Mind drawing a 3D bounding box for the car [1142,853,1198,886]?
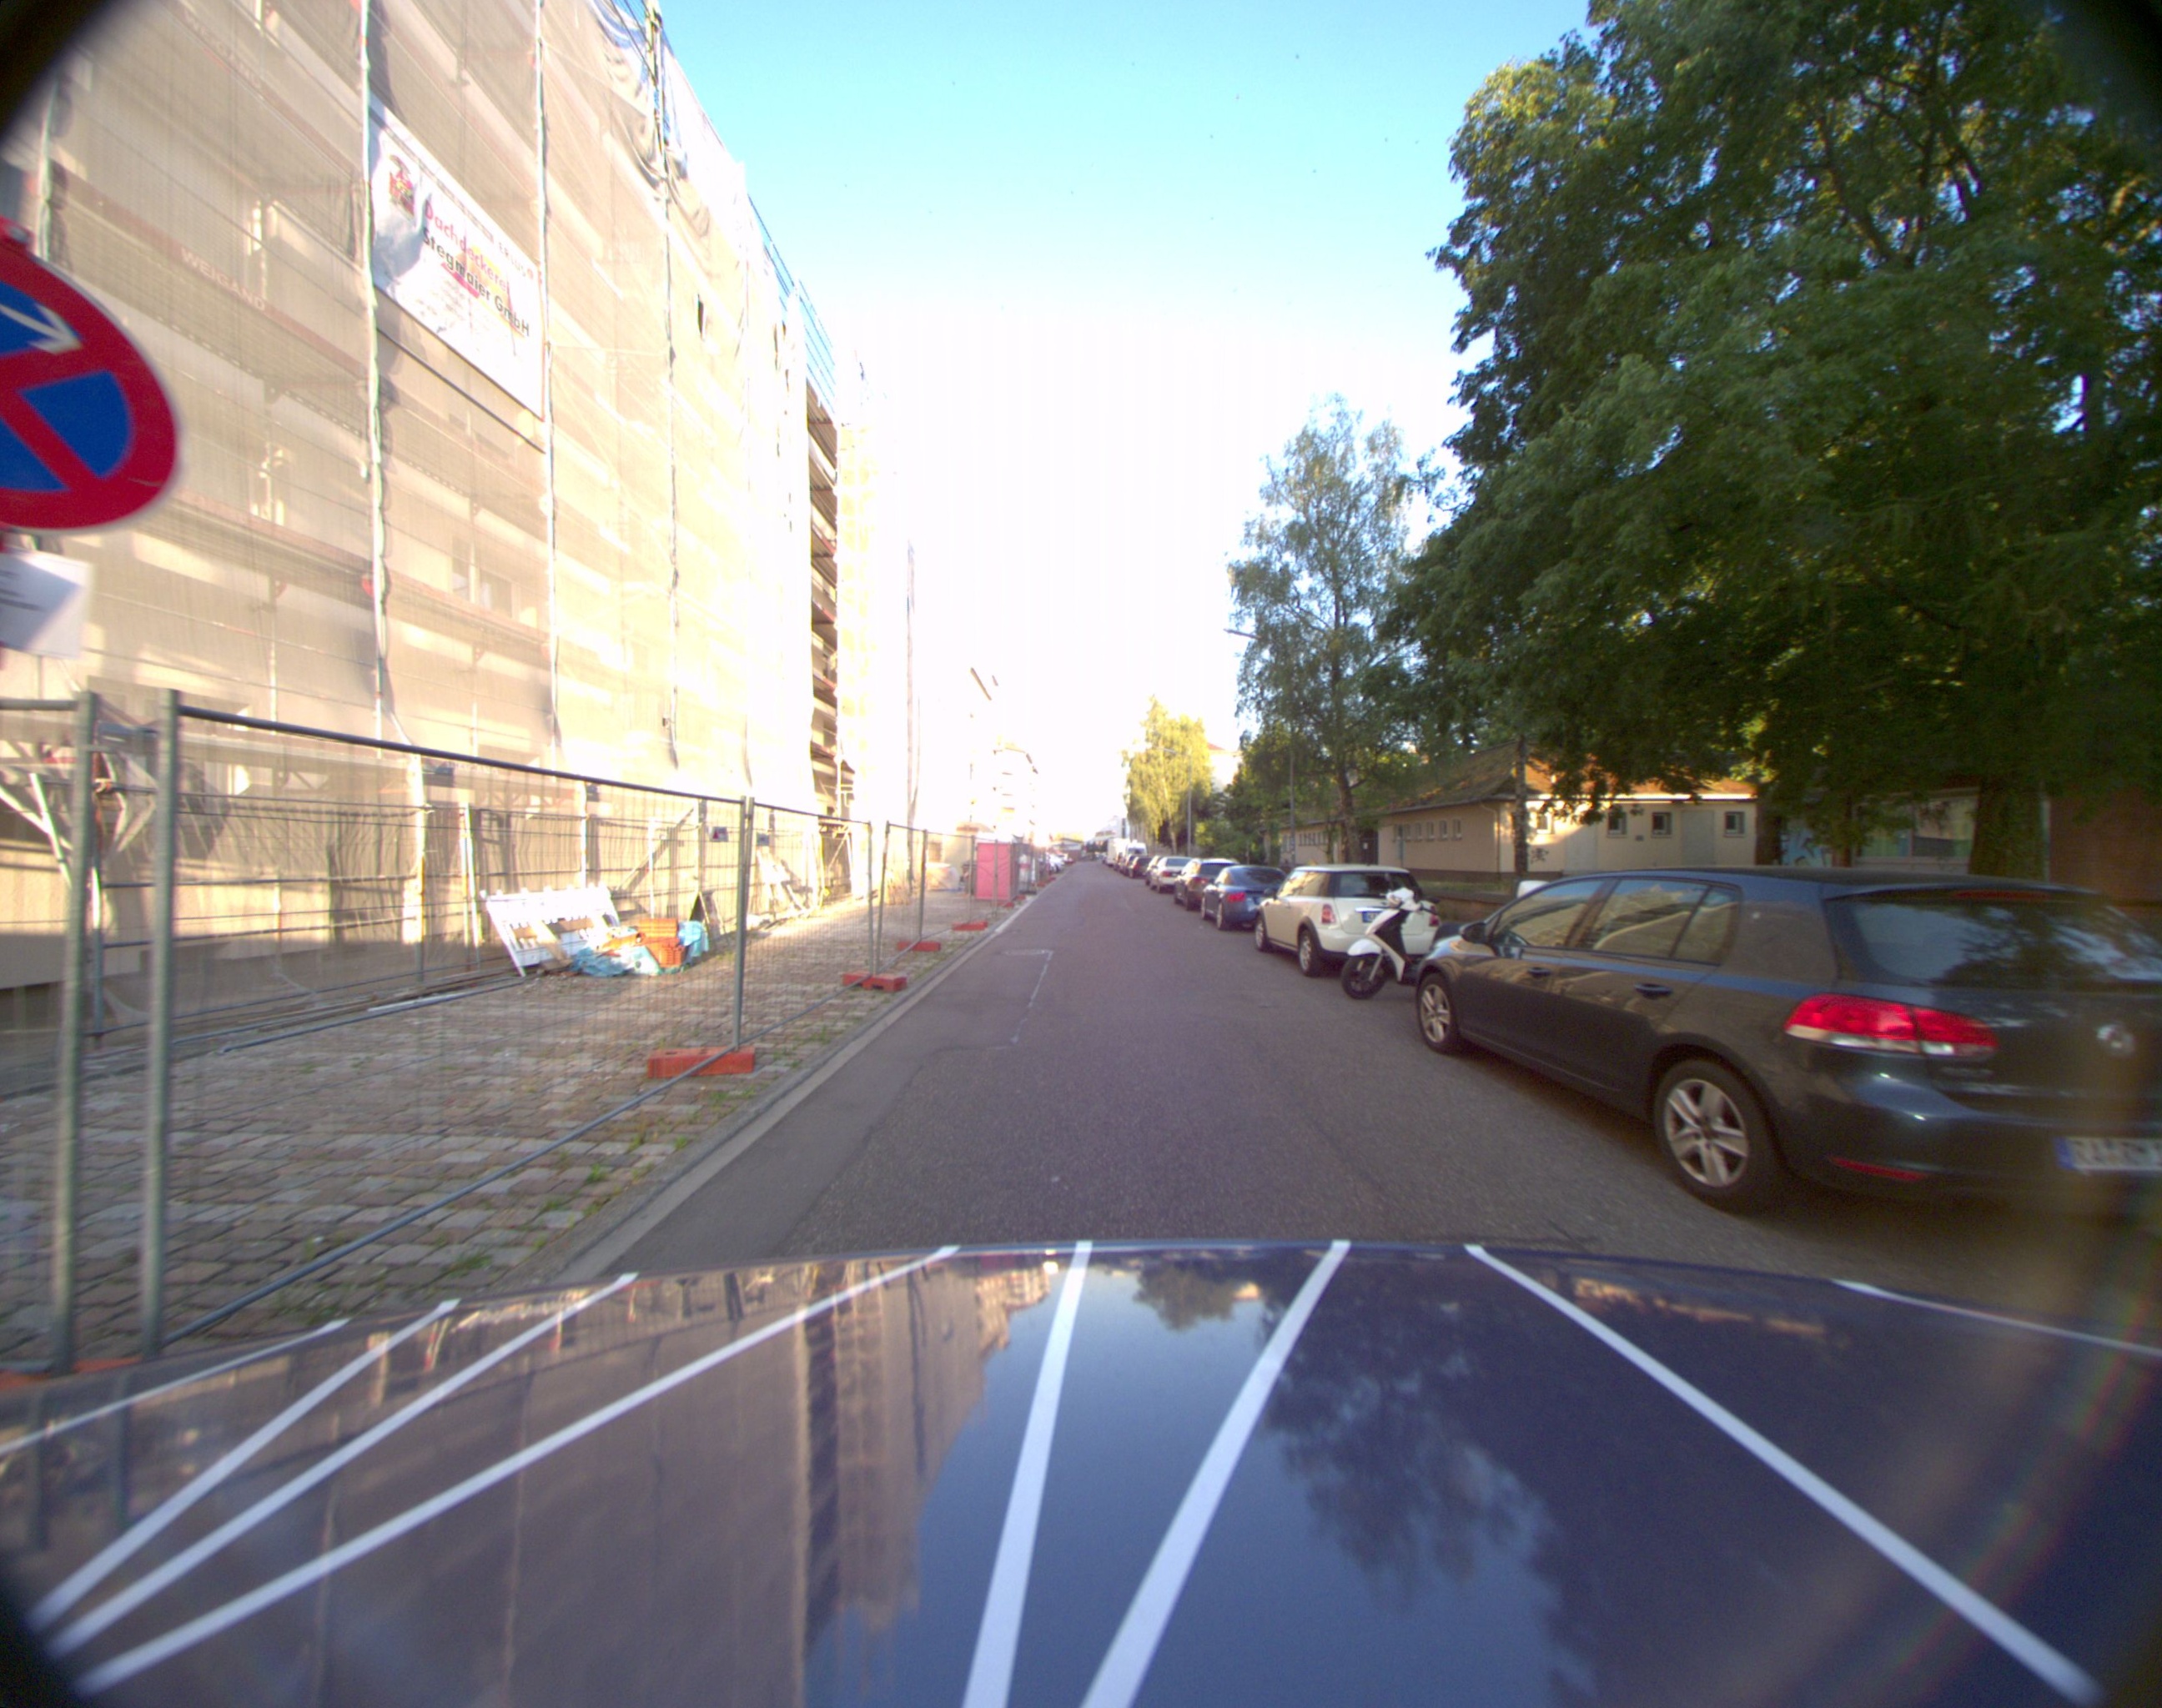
[{"bbox_3d":[4.162,0.676,36.151,1.999,1.444,3.999,-1,0,-2],"label":"car"}]

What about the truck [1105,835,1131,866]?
[{"bbox_3d":[4.268,-0.400,88.282,2.532,3.334,8.017,2,0,0],"label":"truck"}]

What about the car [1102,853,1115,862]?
[{"bbox_3d":[4.762,0.545,132.299,1.999,1.481,4.431,-1,0,-1],"label":"car"}]

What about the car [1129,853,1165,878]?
[{"bbox_3d":[4.122,0.677,47.938,1.998,1.444,4.288,-1,0,1],"label":"car"}]

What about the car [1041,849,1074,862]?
[{"bbox_3d":[-3.428,0.213,111.422,4.685,1.988,2.000,0,0,1],"label":"car"}]

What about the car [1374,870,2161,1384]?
[{"bbox_3d":[3.489,0.914,4.560,1.720,1.487,4.360,1,0,-1],"label":"car"}]

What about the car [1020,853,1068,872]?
[{"bbox_3d":[-3.148,0.709,65.442,3.997,1.630,1.999,0,1,-1],"label":"car"}]

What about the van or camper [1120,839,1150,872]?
[{"bbox_3d":[4.200,0.096,60.090,1.998,2.442,6.083,0,0,0],"label":"van or camper"}]

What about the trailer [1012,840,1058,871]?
[{"bbox_3d":[-3.646,0.100,60.706,3.577,2.323,1.940,2,0,-2],"label":"trailer"}]

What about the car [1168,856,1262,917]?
[{"bbox_3d":[3.746,0.852,22.039,1.864,1.529,4.758,1,0,0],"label":"car"}]

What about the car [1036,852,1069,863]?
[{"bbox_3d":[-3.835,0.464,103.743,4.311,1.532,1.923,0,0,2],"label":"car"}]

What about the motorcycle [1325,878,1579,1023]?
[{"bbox_3d":[3.639,0.921,7.683,2.167,1.296,0.881,-1,1,15],"label":"motorcycle"}]

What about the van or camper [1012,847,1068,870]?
[{"bbox_3d":[-3.647,0.398,68.175,4.846,2.084,2.040,0,0,0],"label":"van or camper"}]

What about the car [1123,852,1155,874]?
[{"bbox_3d":[4.126,0.615,54.340,1.998,1.510,4.789,-1,0,1],"label":"car"}]

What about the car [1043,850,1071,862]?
[{"bbox_3d":[-3.425,0.278,108.767,3.998,1.619,1.784,0,0,-2],"label":"car"}]

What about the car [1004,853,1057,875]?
[{"bbox_3d":[-3.849,0.742,58.184,3.998,1.628,1.903,0,0,-2],"label":"car"}]

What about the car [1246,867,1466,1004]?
[{"bbox_3d":[3.567,0.972,10.626,1.605,1.423,3.803,2,0,-1],"label":"car"}]

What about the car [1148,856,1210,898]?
[{"bbox_3d":[3.809,0.840,30.310,1.787,1.437,4.748,2,0,0],"label":"car"}]

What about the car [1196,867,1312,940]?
[{"bbox_3d":[3.646,0.988,16.704,1.663,1.306,4.154,1,0,1],"label":"car"}]

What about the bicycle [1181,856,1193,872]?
[{"bbox_3d":[7.389,0.670,53.104,0.544,1.111,1.955,-1,0,-1],"label":"bicycle"}]

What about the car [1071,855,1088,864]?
[{"bbox_3d":[-0.304,0.962,130.485,2.000,1.481,4.427,-1,0,-11],"label":"car"}]

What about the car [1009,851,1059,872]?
[{"bbox_3d":[-3.835,0.612,62.808,3.997,1.718,1.999,0,2,-1],"label":"car"}]

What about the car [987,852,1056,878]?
[{"bbox_3d":[-3.717,0.682,48.187,4.163,1.606,1.872,0,0,2],"label":"car"}]

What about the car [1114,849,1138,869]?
[{"bbox_3d":[4.167,0.426,70.811,1.915,1.777,4.949,1,0,-1],"label":"car"}]
